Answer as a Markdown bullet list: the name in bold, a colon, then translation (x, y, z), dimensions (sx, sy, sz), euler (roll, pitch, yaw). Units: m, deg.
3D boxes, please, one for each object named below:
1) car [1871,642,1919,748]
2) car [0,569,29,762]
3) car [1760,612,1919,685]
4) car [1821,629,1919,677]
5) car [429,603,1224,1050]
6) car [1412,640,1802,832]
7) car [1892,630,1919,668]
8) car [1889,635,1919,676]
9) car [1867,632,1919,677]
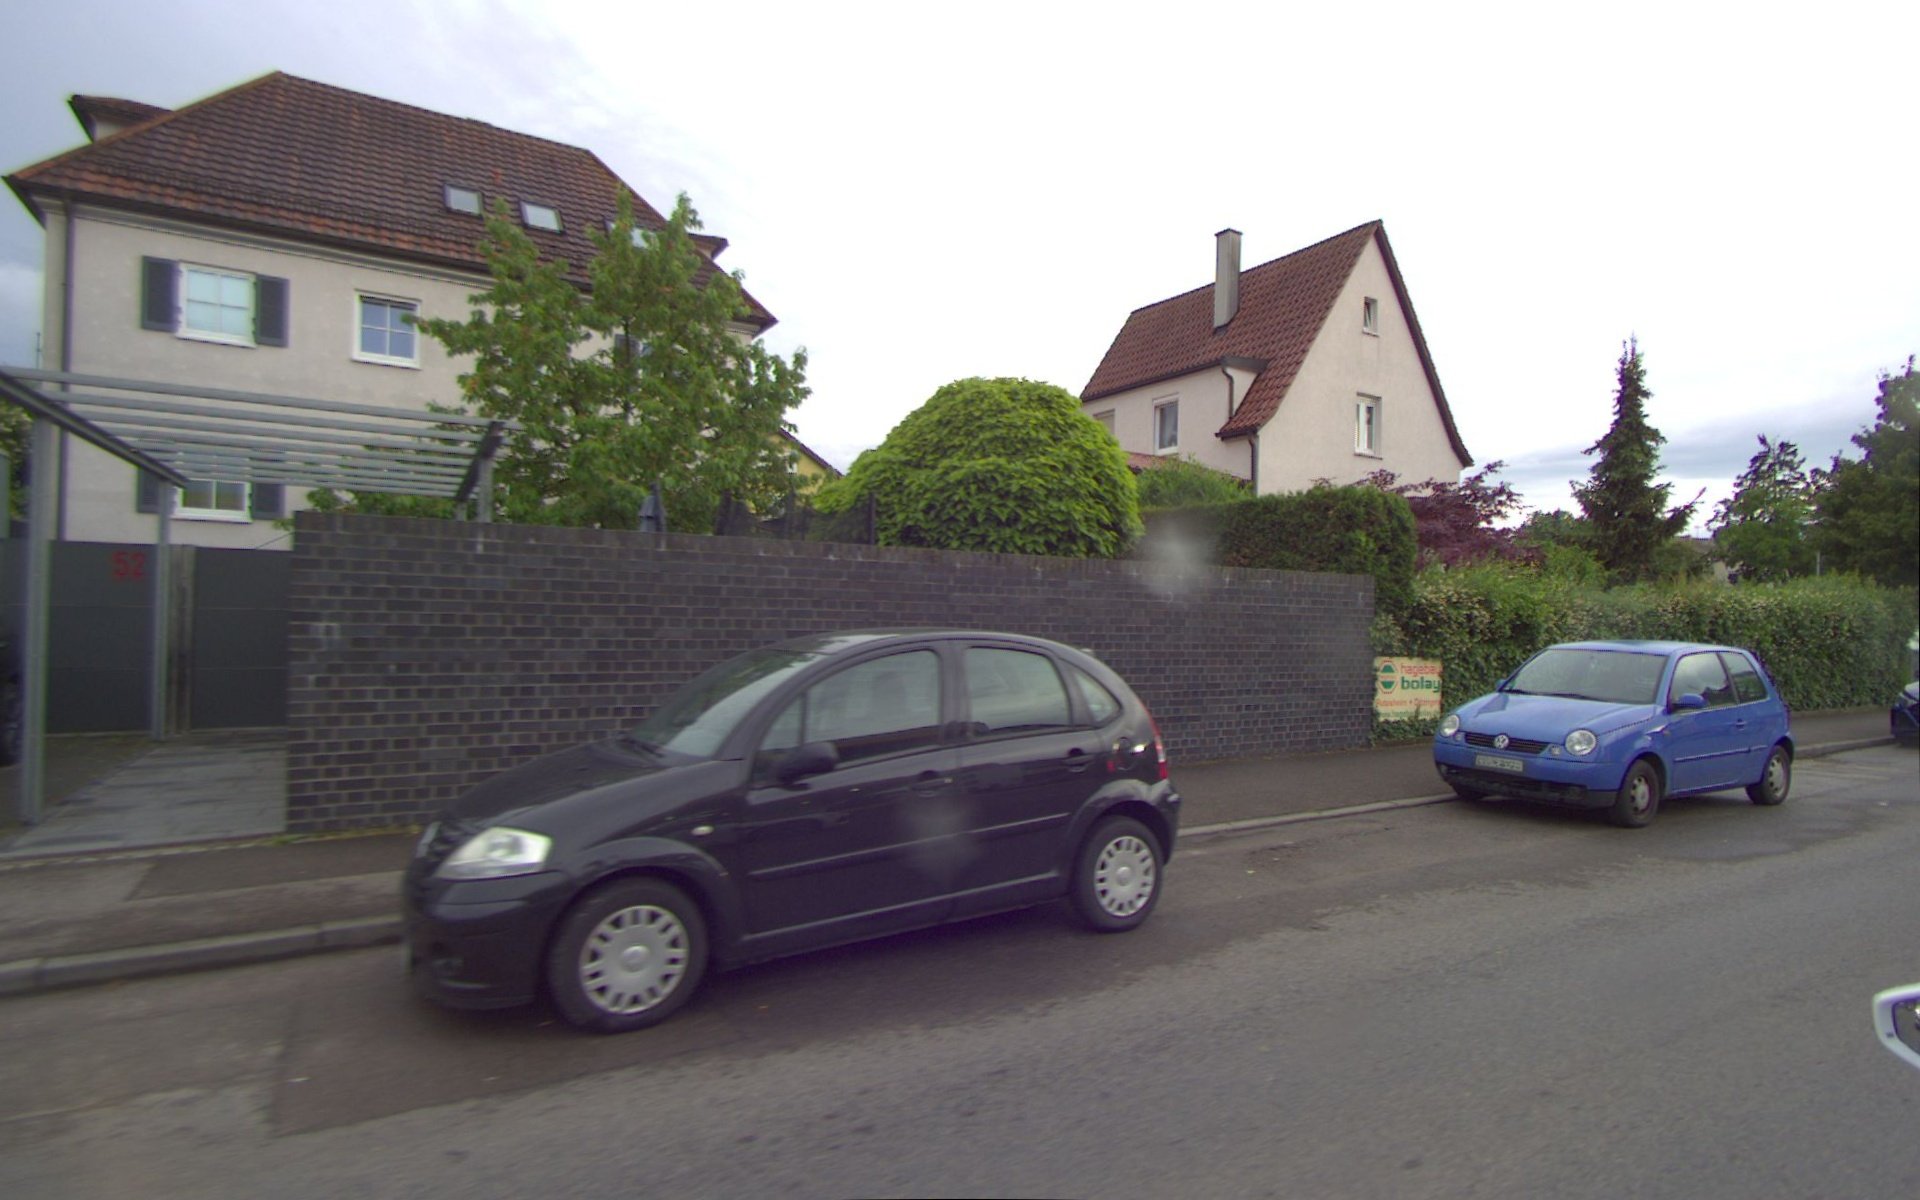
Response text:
- **car**: translation (14.817, 1.322, 14.197), dimensions (3.898, 1.421, 1.798), euler (1, -2, -30)
- **car**: translation (-7.601, 0.516, 6.516), dimensions (1.739, 1.476, 3.562), euler (2, 1, -34)
- **car**: translation (24.570, 1.278, 26.934), dimensions (1.878, 1.814, 4.530), euler (2, -1, -34)
- **car**: translation (28.550, 1.576, 29.554), dimensions (1.867, 1.327, 4.536), euler (2, -1, -30)
- **car**: translation (-0.574, 0.834, 5.075), dimensions (3.664, 1.526, 1.601), euler (1, -2, -30)
- **car**: translation (5.901, 1.082, 9.096), dimensions (3.555, 1.421, 1.538), euler (1, -2, -30)
- **car**: translation (40.822, 2.049, 41.961), dimensions (3.953, 1.550, 1.683), euler (1, -1, -30)
- **car**: translation (33.030, 1.848, 32.235), dimensions (1.750, 1.349, 4.430), euler (1, -1, -30)
- **car**: translation (31.139, 1.732, 30.972), dimensions (1.867, 1.392, 4.356), euler (1, -1, -30)
